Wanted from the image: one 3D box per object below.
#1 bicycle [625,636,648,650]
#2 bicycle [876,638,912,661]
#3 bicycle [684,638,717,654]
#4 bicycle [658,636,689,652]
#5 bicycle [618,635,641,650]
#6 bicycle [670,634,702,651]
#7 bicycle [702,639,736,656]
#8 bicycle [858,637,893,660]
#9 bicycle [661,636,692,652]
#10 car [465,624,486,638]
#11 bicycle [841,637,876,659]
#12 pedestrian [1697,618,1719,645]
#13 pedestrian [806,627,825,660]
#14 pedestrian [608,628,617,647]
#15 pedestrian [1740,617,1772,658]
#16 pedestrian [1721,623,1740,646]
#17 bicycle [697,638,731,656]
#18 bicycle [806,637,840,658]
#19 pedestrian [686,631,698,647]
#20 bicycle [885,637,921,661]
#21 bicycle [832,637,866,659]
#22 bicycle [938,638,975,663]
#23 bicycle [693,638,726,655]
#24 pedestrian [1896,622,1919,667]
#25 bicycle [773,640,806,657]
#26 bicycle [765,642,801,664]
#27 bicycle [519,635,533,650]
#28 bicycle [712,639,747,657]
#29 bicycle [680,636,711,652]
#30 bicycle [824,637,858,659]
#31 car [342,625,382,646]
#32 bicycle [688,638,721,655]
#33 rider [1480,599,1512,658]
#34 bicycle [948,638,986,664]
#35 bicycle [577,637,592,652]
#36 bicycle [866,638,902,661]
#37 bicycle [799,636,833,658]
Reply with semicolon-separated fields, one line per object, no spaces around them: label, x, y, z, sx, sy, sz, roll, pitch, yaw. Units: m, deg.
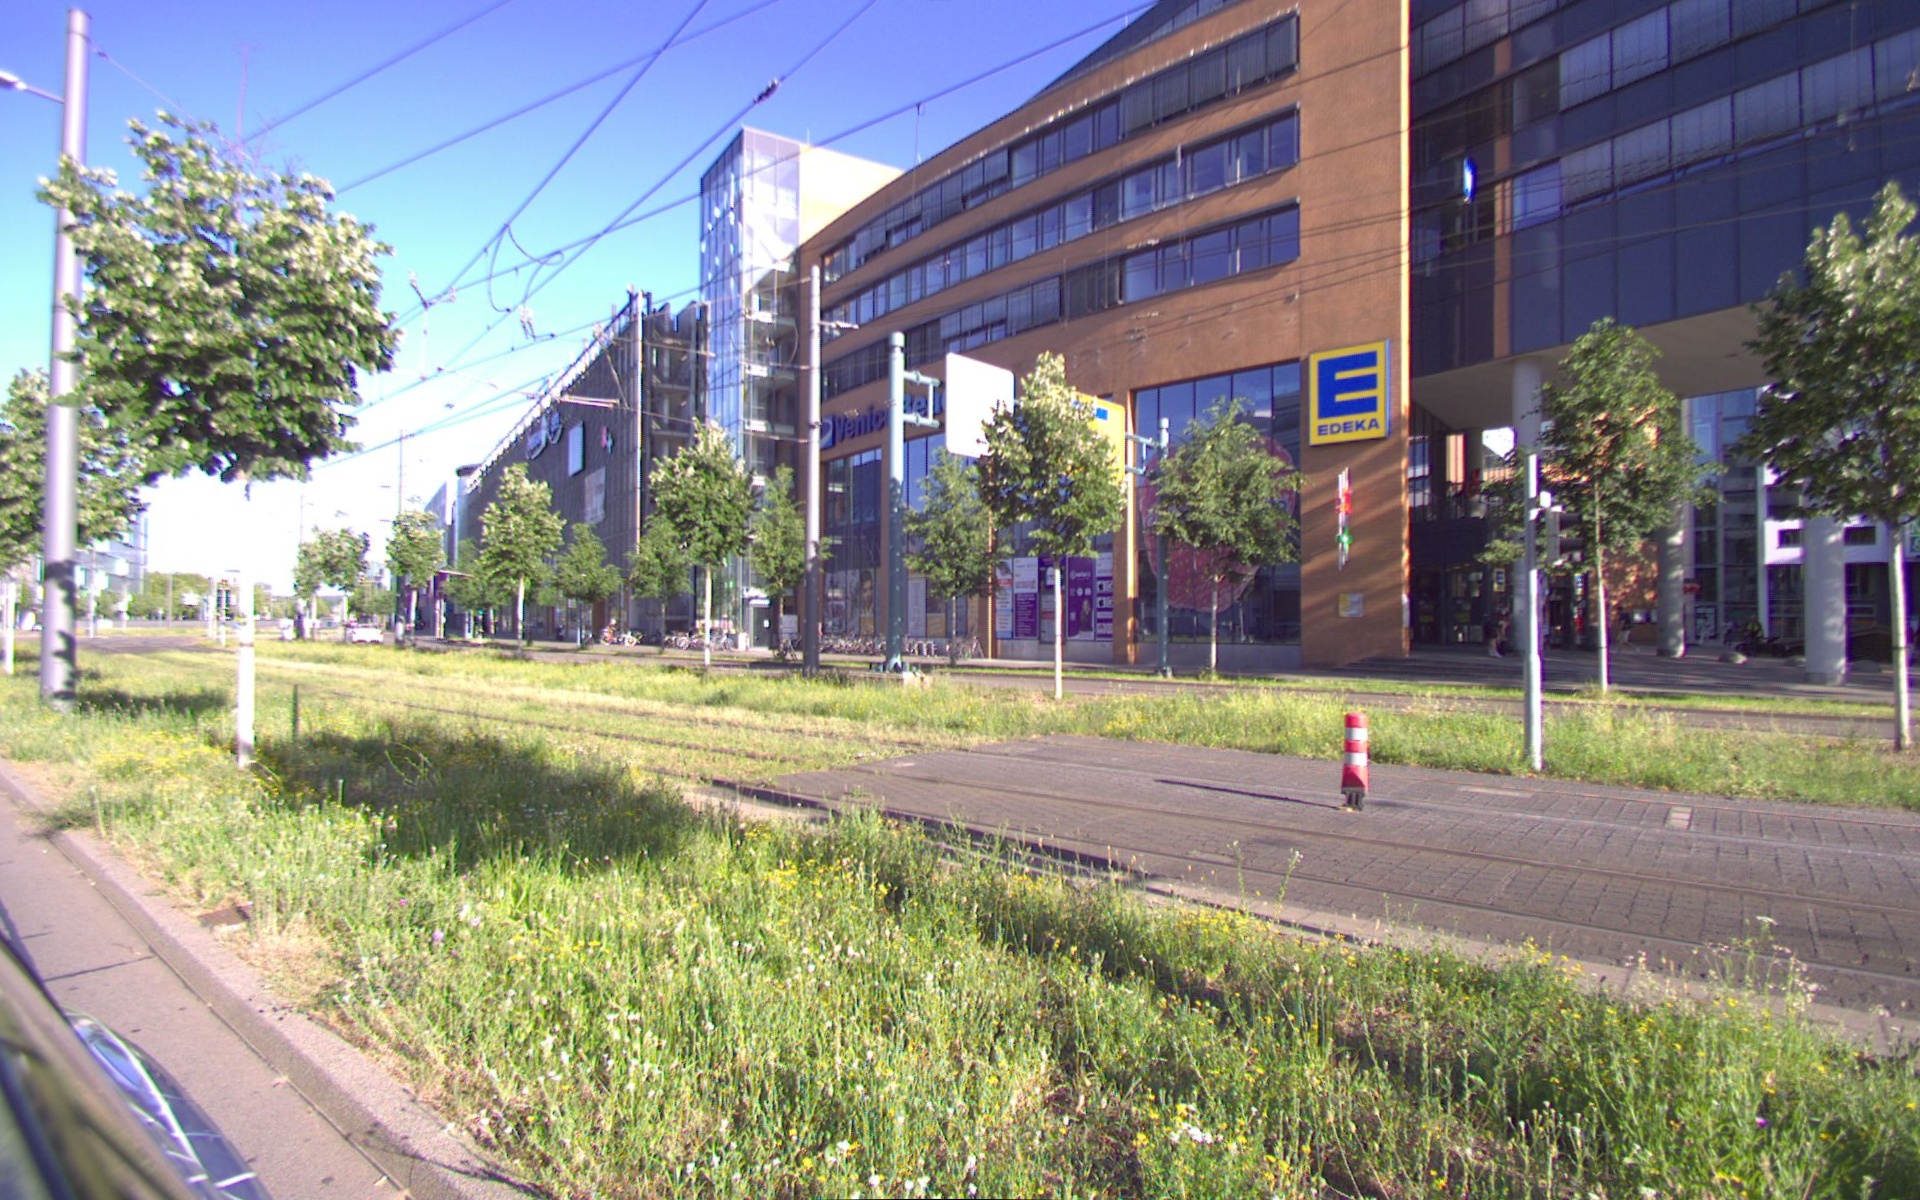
bicycle;-21.202;2.811;66.402;1.377;0.933;0.463;1;-2;-33
bicycle;-3.107;2.319;47.520;1.744;1.057;0.491;1;-2;-42
bicycle;-14.922;2.632;58.152;1.741;0.933;0.566;1;-2;-33
bicycle;-17.566;2.684;62.021;1.741;0.933;0.492;1;-2;-33
bicycle;-22.061;2.827;67.541;1.377;0.933;0.463;1;-2;-33
bicycle;-16.389;2.538;60.541;1.741;0.933;0.492;1;-2;-33
bicycle;-13.230;2.598;55.605;1.741;0.933;0.566;1;-2;-33
bicycle;-4.046;2.336;48.557;1.744;1.057;0.491;1;-2;-42
bicycle;-17.204;2.677;61.439;1.741;0.933;0.566;1;-2;-33
car;-56.725;3.581;118.463;1.559;1.541;3.759;0;0;-37
bicycle;-4.950;2.352;49.489;1.744;1.057;0.491;1;-2;-42
pedestrian;42.286;1.785;57.212;1.038;1.491;0.660;0;0;-32
pedestrian;-7.571;2.279;53.061;0.736;1.681;0.676;1;-2;-43
pedestrian;-23.965;2.605;69.746;0.442;1.299;0.631;1;-2;-36
pedestrian;34.097;1.586;43.350;0.778;1.720;0.810;0;-1;-32
pedestrian;43.769;1.942;57.502;0.627;1.287;0.664;0;0;-32
bicycle;-13.668;2.607;56.340;1.741;0.933;0.566;1;-2;-33
bicycle;-6.971;2.411;51.660;1.744;1.057;0.491;1;-2;-42
pedestrian;-17.883;2.617;67.577;0.619;1.063;0.450;1;-2;-36
bicycle;-2.631;2.278;47.017;1.744;1.057;0.491;1;-2;-42
bicycle;-5.481;2.362;50.017;1.744;1.057;0.491;1;-2;-42
bicycle;-0.136;2.164;43.737;1.744;1.057;0.491;1;-2;-42
bicycle;-14.095;2.616;56.982;1.741;0.933;0.566;1;-2;-33
pedestrian;37.475;1.722;39.573;0.778;1.720;1.113;0;0;-32
bicycle;-9.438;2.675;55.994;1.741;0.933;0.566;1;-2;-33
bicycle;-7.366;2.208;42.070;1.771;0.875;0.458;-1;-2;42
bicycle;-27.371;2.692;63.802;0.380;0.930;1.775;1;-2;-36
bicycle;-12.498;2.585;54.874;1.741;0.933;0.566;1;-2;-33
bicycle;-15.522;2.577;59.394;1.741;0.933;0.492;1;-2;-33
bicycle;-5.948;2.370;50.523;1.744;1.057;0.491;1;-2;-42
car;-39.527;2.307;66.860;1.782;1.338;4.415;2;-2;-36
bicycle;-14.513;2.624;57.543;1.741;0.933;0.566;1;-2;-33
rider;16.883;0.904;31.881;0.712;1.816;0.710;-1;-2;42
bicycle;0.309;2.156;43.273;1.744;1.057;0.491;1;-2;-42
bicycle;-22.681;2.666;61.181;0.380;0.875;1.775;1;-2;-36
bicycle;-3.603;2.328;48.065;1.744;1.057;0.491;1;-2;-42
bicycle;-7.427;2.419;52.180;1.744;1.057;0.491;1;-2;-42
